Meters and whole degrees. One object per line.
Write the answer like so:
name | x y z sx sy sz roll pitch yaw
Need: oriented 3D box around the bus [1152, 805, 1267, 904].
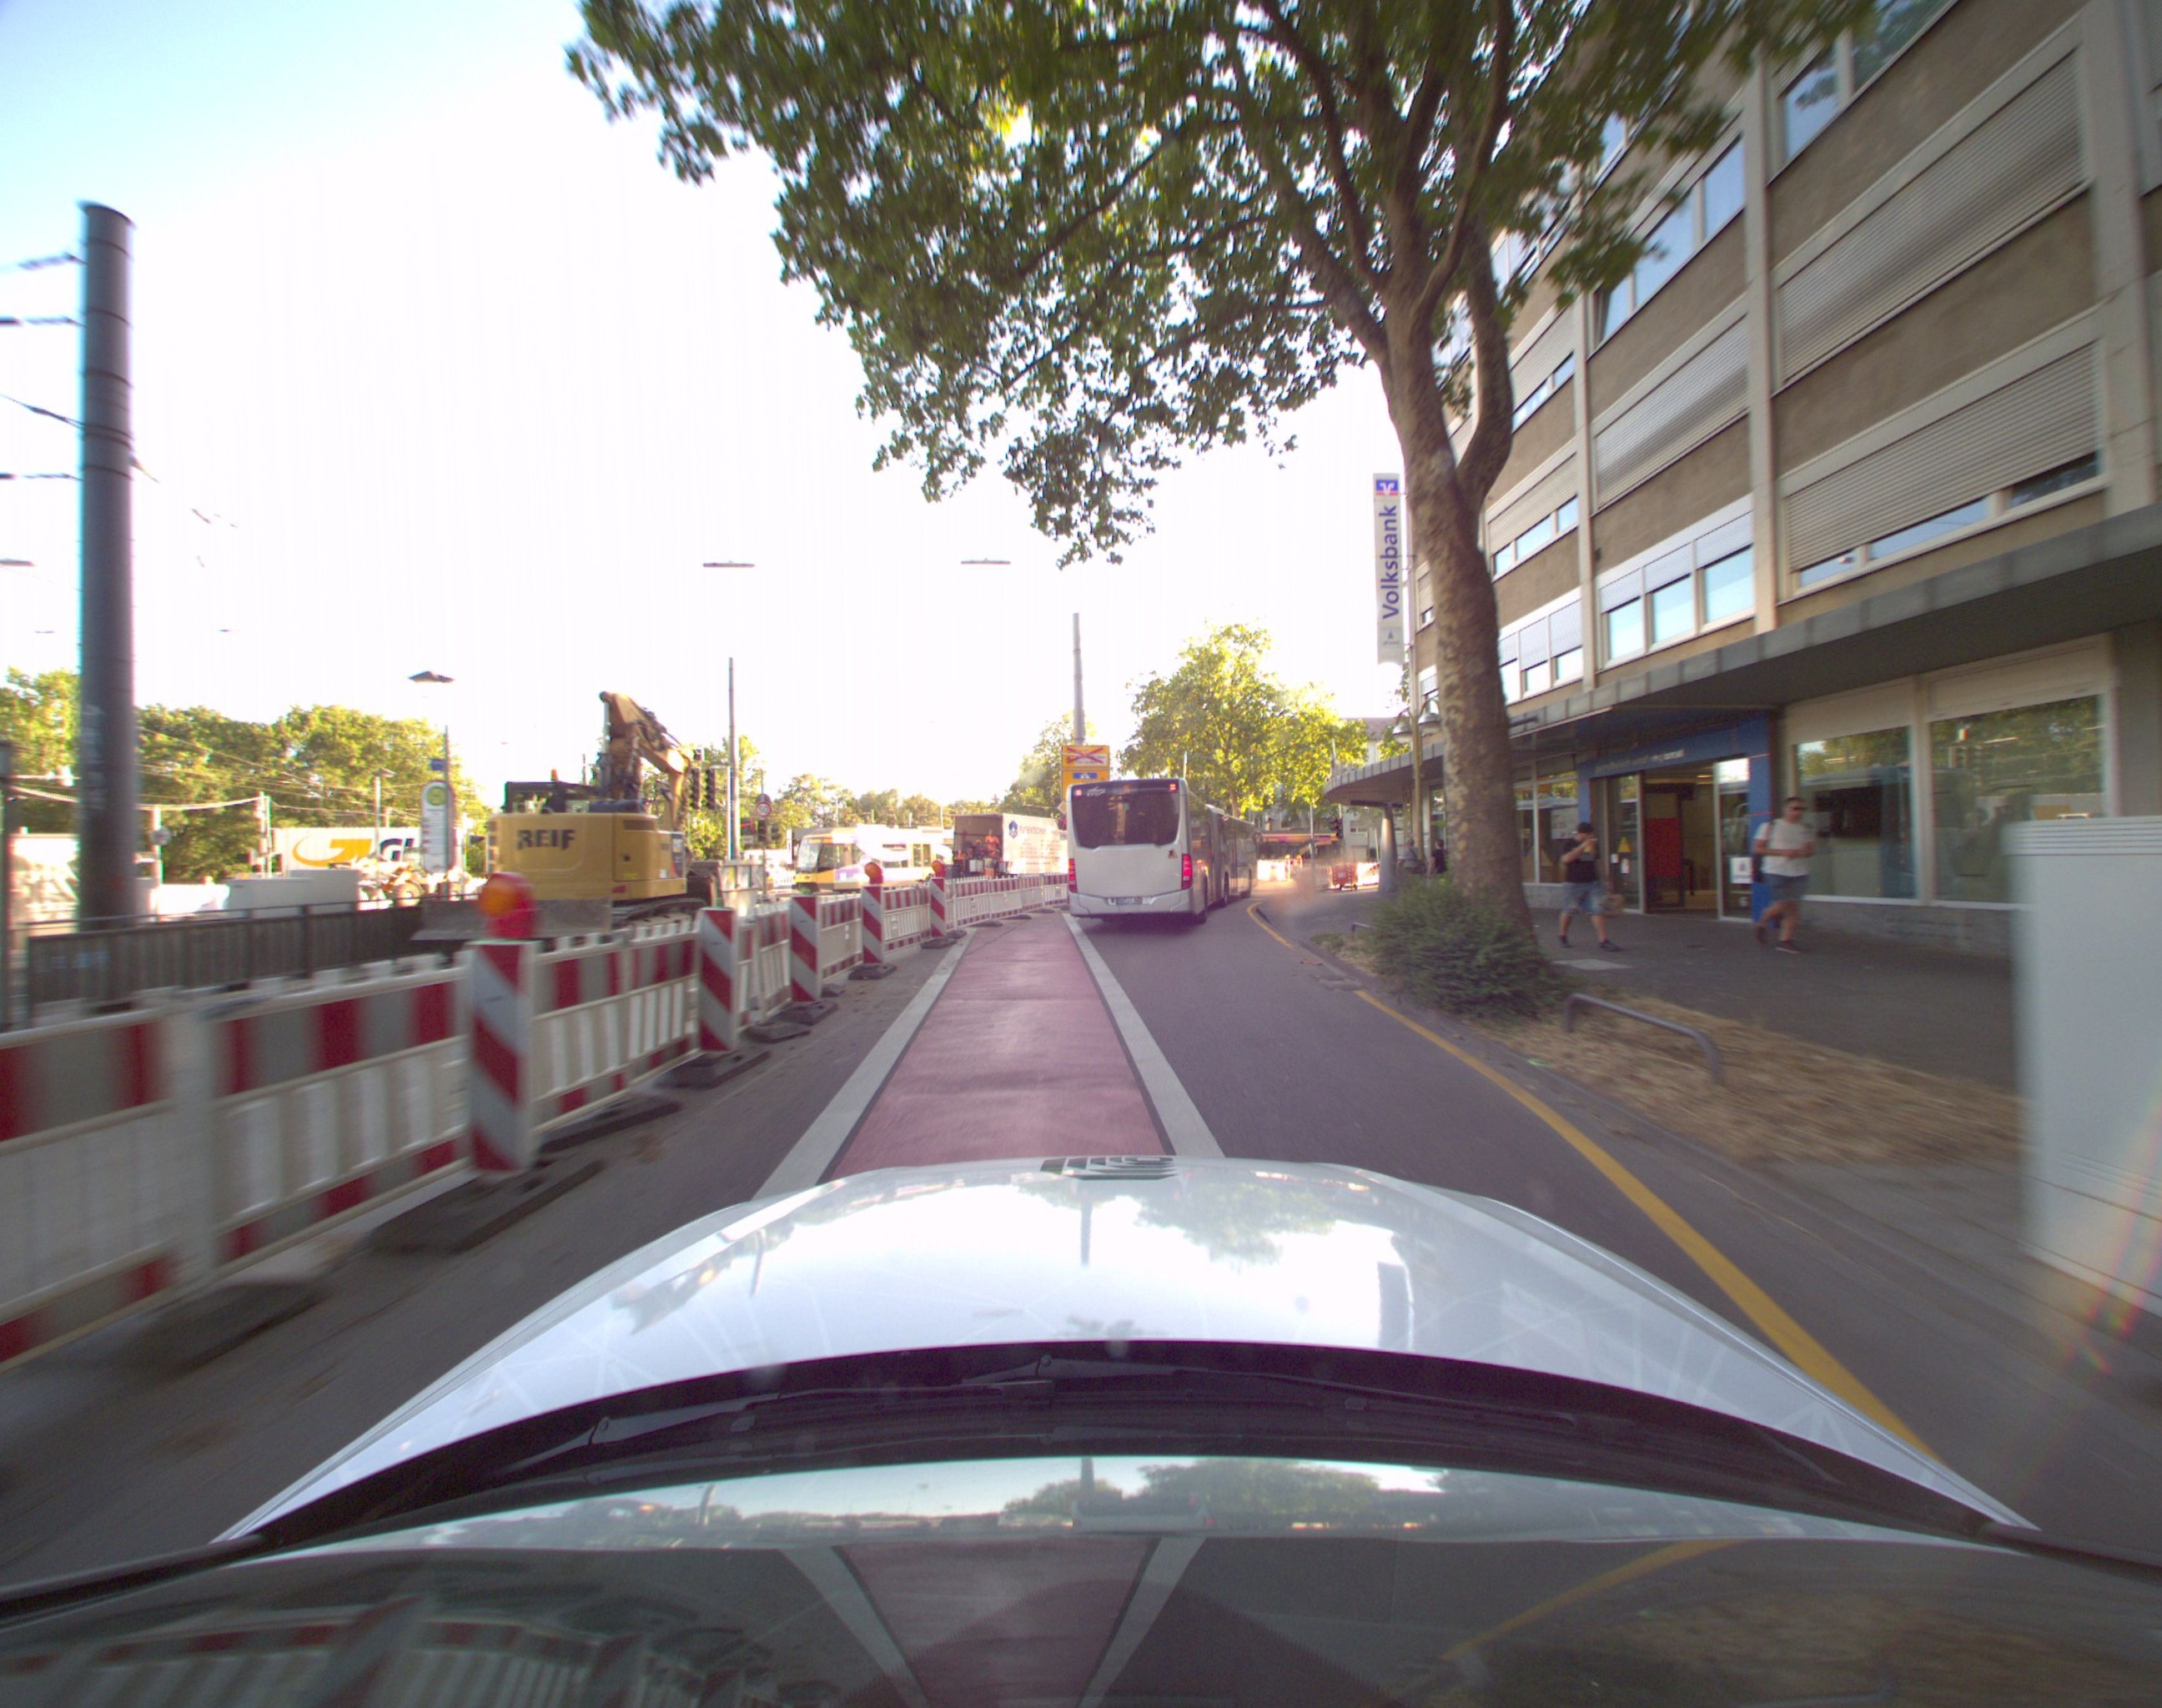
bus | 5.074 0.032 30.427 2.686 3.107 9.022 -1 0 19

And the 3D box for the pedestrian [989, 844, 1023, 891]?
pedestrian | -2.916 0.514 31.754 0.965 1.798 1.074 -1 0 15

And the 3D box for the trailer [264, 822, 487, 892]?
trailer | -40.110 0.146 46.757 9.240 3.797 2.879 0 0 -18

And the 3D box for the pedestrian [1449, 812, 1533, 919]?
pedestrian | 7.674 0.203 15.295 0.835 1.869 1.099 -5 0 -2

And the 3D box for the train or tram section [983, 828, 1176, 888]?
train or tram section | 0.133 0.237 52.507 12.823 3.549 2.711 0 -1 -30

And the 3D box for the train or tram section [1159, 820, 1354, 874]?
train or tram section | 12.212 -0.486 56.754 13.289 3.519 2.640 -1 -1 -10

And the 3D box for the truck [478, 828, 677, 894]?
truck | -31.478 0.390 51.432 10.473 3.790 2.870 -1 -1 -34

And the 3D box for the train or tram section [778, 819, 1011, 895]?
train or tram section | -9.496 0.185 44.249 2.822 3.533 13.480 -2 -1 39

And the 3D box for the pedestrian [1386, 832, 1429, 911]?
pedestrian | 7.423 0.390 18.543 0.581 1.708 0.679 -4 0 -2

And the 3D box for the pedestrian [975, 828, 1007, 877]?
pedestrian | -3.802 -0.072 34.538 0.928 2.013 1.007 -1 1 23

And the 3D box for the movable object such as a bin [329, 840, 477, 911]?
movable object such as a bin | -27.533 0.827 33.322 2.144 2.639 4.599 -1 0 0

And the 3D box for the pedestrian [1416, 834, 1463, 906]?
pedestrian | 8.172 0.354 18.596 0.631 1.573 0.774 -4 0 -2

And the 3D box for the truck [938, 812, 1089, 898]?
truck | -2.830 0.038 38.143 2.786 3.541 9.035 -1 0 26

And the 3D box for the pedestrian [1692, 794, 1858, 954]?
pedestrian | 8.057 0.222 9.511 0.897 1.697 1.070 -5 0 -2

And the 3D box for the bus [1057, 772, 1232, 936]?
bus | 2.171 -0.007 21.087 2.714 3.139 10.744 0 0 14

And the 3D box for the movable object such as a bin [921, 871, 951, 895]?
movable object such as a bin | -5.868 1.177 33.030 0.929 0.917 1.420 -1 -1 1

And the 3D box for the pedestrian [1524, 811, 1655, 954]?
pedestrian | 6.604 0.351 10.646 0.897 1.710 1.070 -5 0 -2

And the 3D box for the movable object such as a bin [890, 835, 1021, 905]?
movable object such as a bin | -4.286 0.493 28.838 1.975 2.256 5.238 0 0 25

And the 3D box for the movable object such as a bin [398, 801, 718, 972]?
movable object such as a bin | -8.265 0.437 13.668 2.641 2.318 4.890 -1 0 -7
